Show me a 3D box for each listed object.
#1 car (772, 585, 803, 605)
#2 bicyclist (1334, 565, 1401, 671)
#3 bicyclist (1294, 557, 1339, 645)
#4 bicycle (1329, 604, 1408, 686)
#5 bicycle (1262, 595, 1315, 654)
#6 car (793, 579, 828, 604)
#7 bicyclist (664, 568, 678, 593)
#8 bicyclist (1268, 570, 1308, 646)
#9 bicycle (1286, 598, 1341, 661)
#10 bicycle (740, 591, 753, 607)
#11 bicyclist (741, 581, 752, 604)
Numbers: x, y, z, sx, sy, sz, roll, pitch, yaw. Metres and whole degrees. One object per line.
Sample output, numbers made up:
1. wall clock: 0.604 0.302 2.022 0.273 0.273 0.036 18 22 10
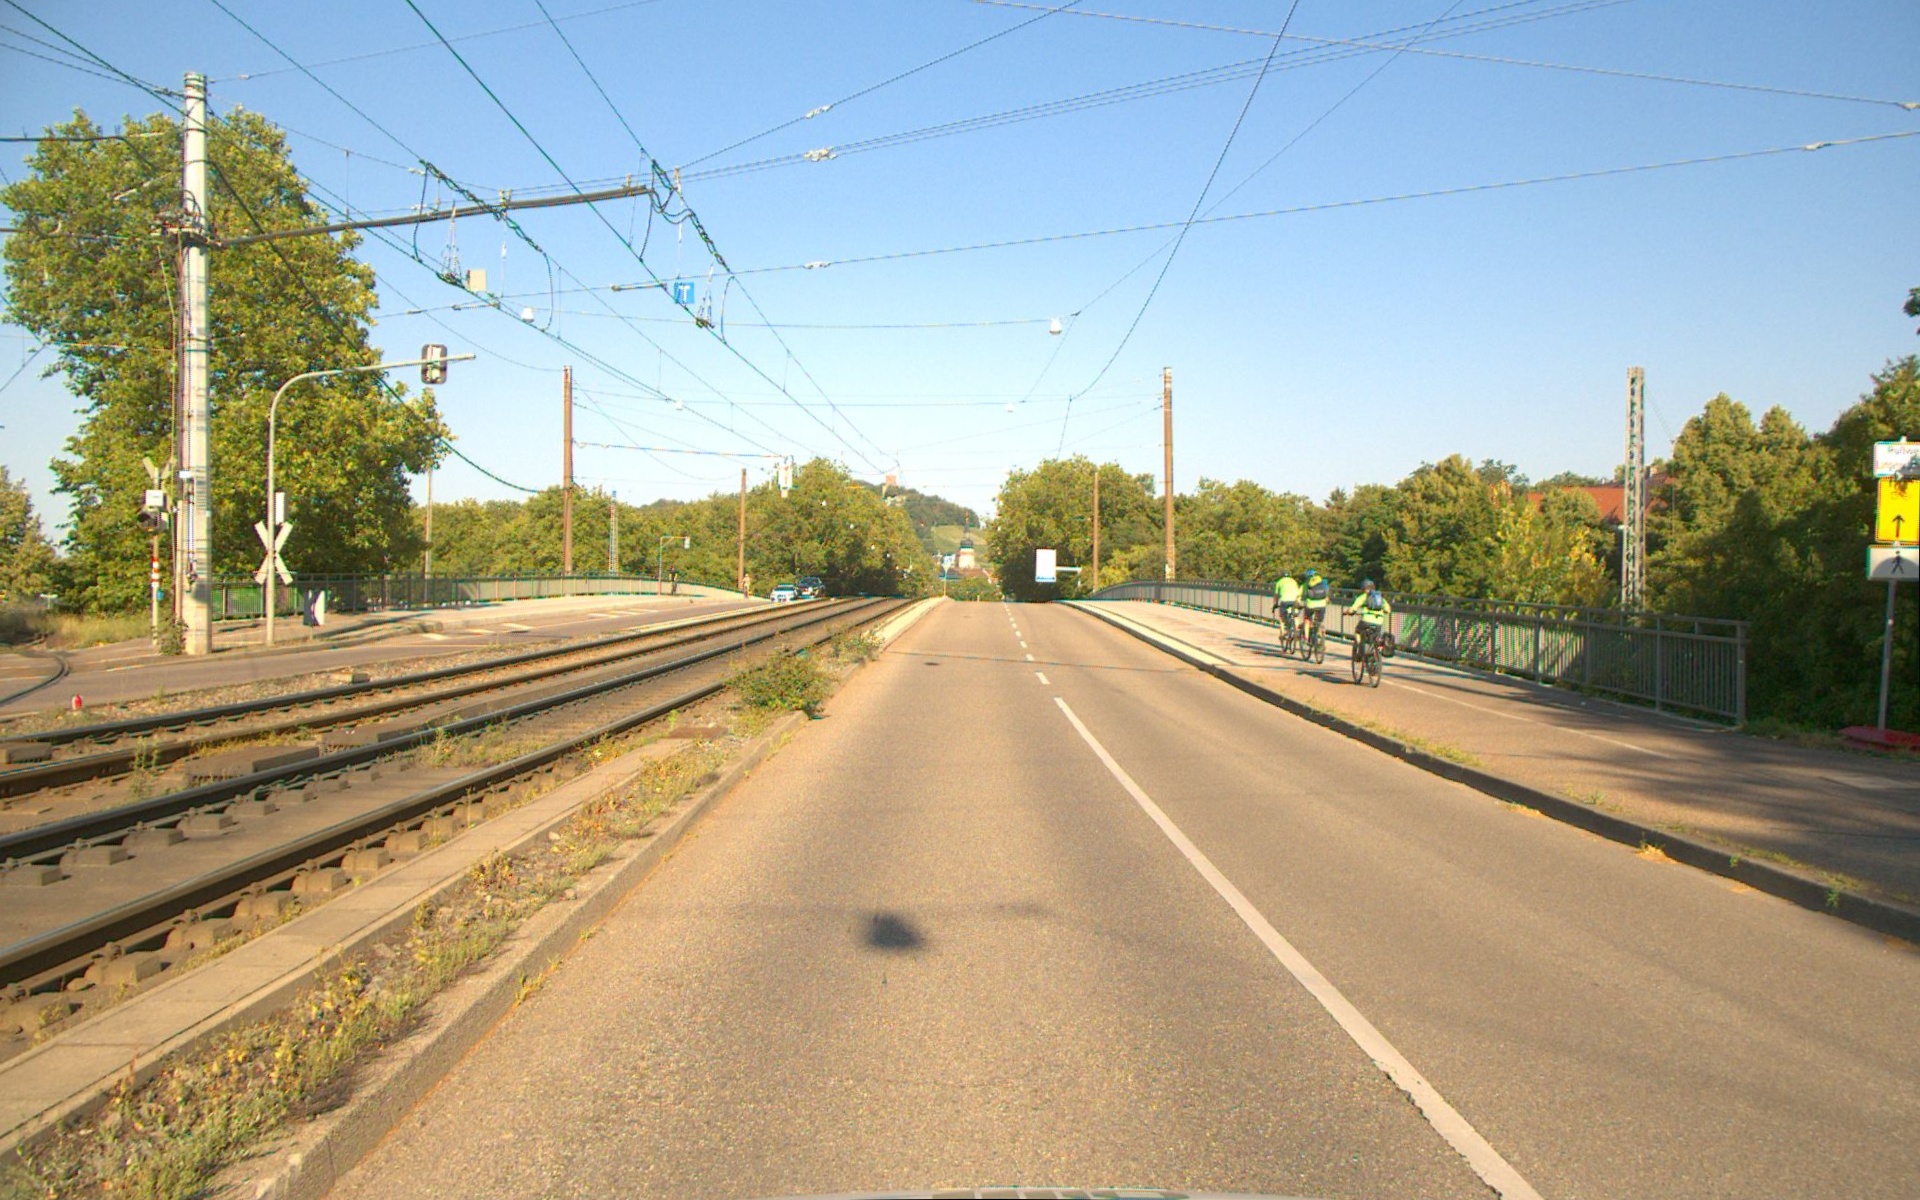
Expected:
1. car: -12.677 -0.383 121.705 1.649 1.380 4.920 1 0 1
2. bicyclist: 6.288 0.268 25.569 0.795 1.589 0.897 1 1 0
3. bicyclist: 6.694 0.014 31.086 0.612 1.620 0.931 1 0 0
4. bicycle: 6.291 0.671 25.594 0.669 1.142 2.217 1 1 0
5. bicycle: 6.734 0.477 33.977 0.612 1.142 2.259 1 1 0
6. car: -9.672 -0.549 107.020 1.811 1.528 4.219 1 0 1
7. bicyclist: -16.779 -1.136 95.993 0.612 1.457 0.968 1 0 -2
8. bicyclist: 6.740 0.156 34.016 0.612 1.534 1.006 1 0 0
9. bicycle: 6.650 0.540 31.191 0.612 1.142 2.042 1 0 0
10. bicycle: -15.759 -0.065 122.132 0.612 1.142 2.260 1 0 1
11. bicyclist: -15.747 -0.551 122.150 0.612 1.661 0.935 1 0 1
